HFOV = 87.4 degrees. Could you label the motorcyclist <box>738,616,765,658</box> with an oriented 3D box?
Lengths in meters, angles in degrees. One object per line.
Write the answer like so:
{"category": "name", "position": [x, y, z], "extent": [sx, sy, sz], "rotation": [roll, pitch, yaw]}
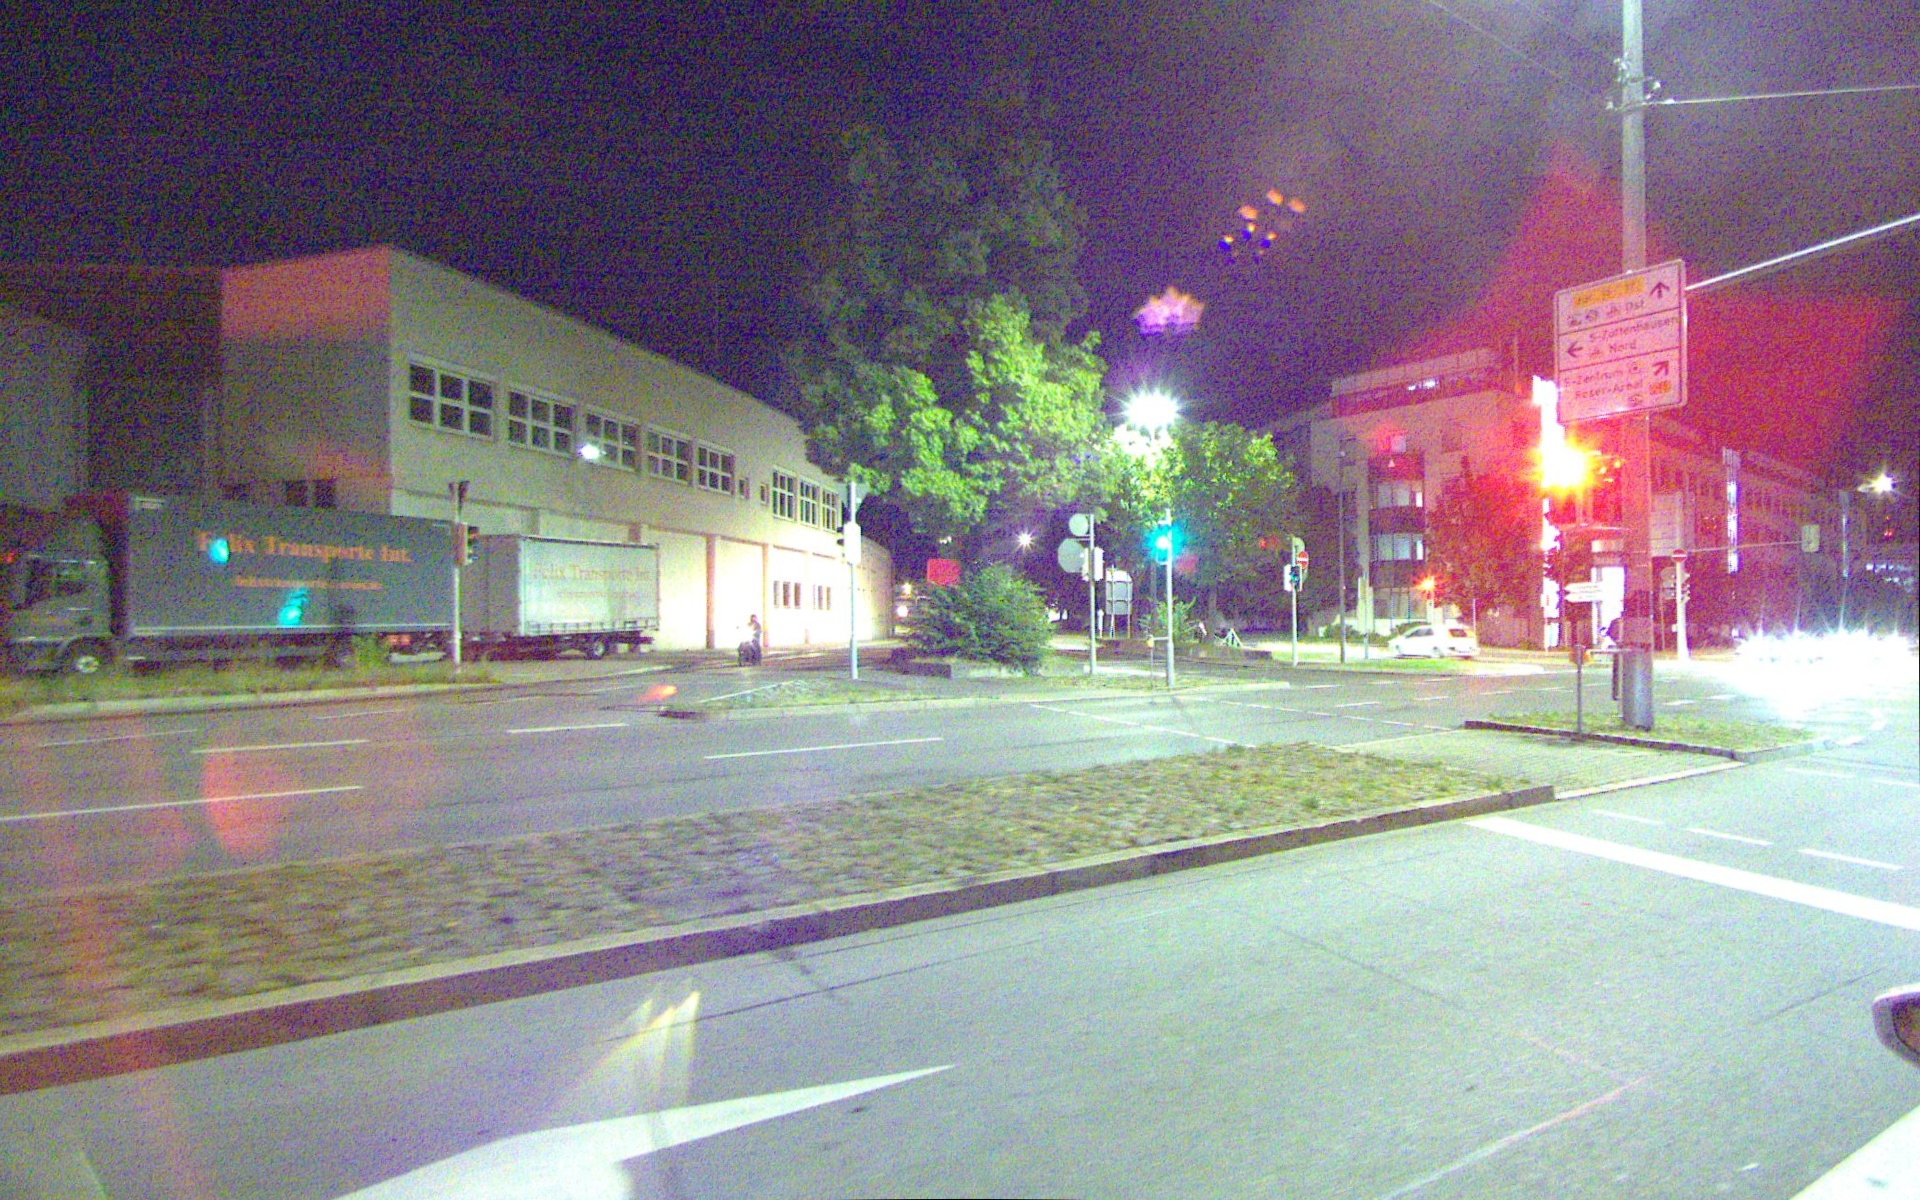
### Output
{"category": "motorcyclist", "position": [-6.393, 1.138, 30.848], "extent": [0.635, 1.278, 0.579], "rotation": [1, -1, 9]}

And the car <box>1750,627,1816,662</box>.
{"category": "car", "position": [38.315, 2.071, 46.752], "extent": [3.966, 1.535, 1.603], "rotation": [2, -2, -39]}

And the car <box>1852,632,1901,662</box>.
{"category": "car", "position": [55.805, 2.836, 61.147], "extent": [3.517, 1.750, 1.744], "rotation": [2, -2, -39]}

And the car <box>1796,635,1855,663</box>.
{"category": "car", "position": [44.254, 2.507, 51.339], "extent": [3.518, 1.339, 1.744], "rotation": [2, -2, -39]}

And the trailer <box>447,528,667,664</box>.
{"category": "trailer", "position": [-12.556, -0.021, 31.979], "extent": [2.571, 3.841, 6.512], "rotation": [1, -1, 23]}

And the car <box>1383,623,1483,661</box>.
{"category": "car", "position": [19.957, 1.743, 42.574], "extent": [1.680, 1.511, 3.989], "rotation": [2, -1, -14]}

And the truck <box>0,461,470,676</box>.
{"category": "truck", "position": [-16.356, -0.418, 22.934], "extent": [2.892, 3.846, 9.551], "rotation": [1, -2, 25]}

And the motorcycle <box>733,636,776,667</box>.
{"category": "motorcycle", "position": [-6.291, 1.579, 30.896], "extent": [0.568, 0.907, 2.157], "rotation": [-1, -2, 9]}
